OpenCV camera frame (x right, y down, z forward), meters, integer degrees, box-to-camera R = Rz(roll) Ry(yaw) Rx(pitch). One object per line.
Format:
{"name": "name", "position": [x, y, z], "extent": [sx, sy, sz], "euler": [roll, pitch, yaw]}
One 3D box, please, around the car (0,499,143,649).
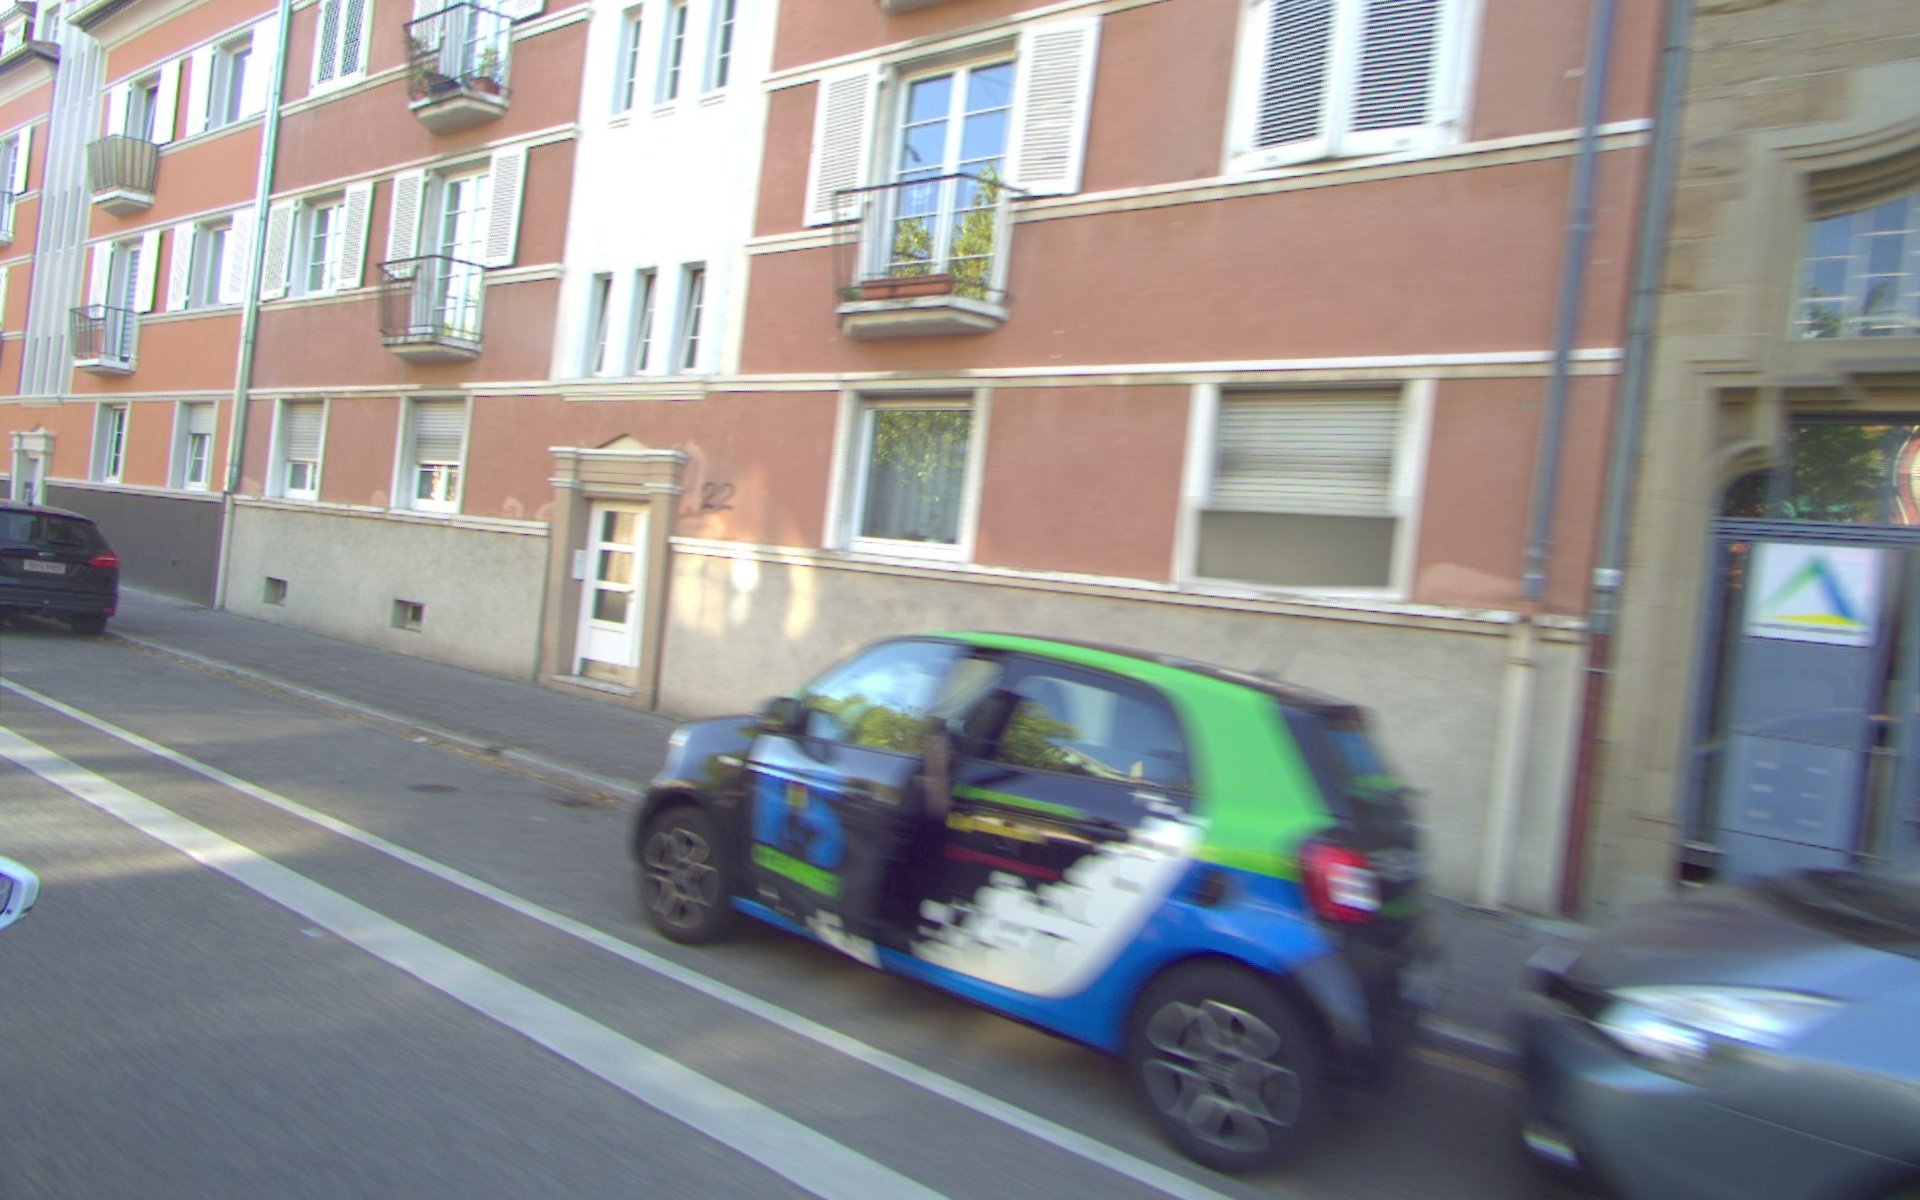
{"name": "car", "position": [-12.213, -0.521, 12.306], "extent": [4.681, 1.528, 1.758], "euler": [7, -2, 30]}

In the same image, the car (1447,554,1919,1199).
{"name": "car", "position": [3.762, 1.135, 2.031], "extent": [4.736, 1.877, 1.756], "euler": [7, -1, 32]}

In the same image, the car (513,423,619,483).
{"name": "car", "position": [-17.490, -6.521, 44.877], "extent": [1.878, 1.669, 4.000], "euler": [7, -2, 28]}

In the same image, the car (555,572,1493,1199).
{"name": "car", "position": [0.140, 0.899, 4.442], "extent": [3.656, 1.528, 1.635], "euler": [7, -2, 33]}
